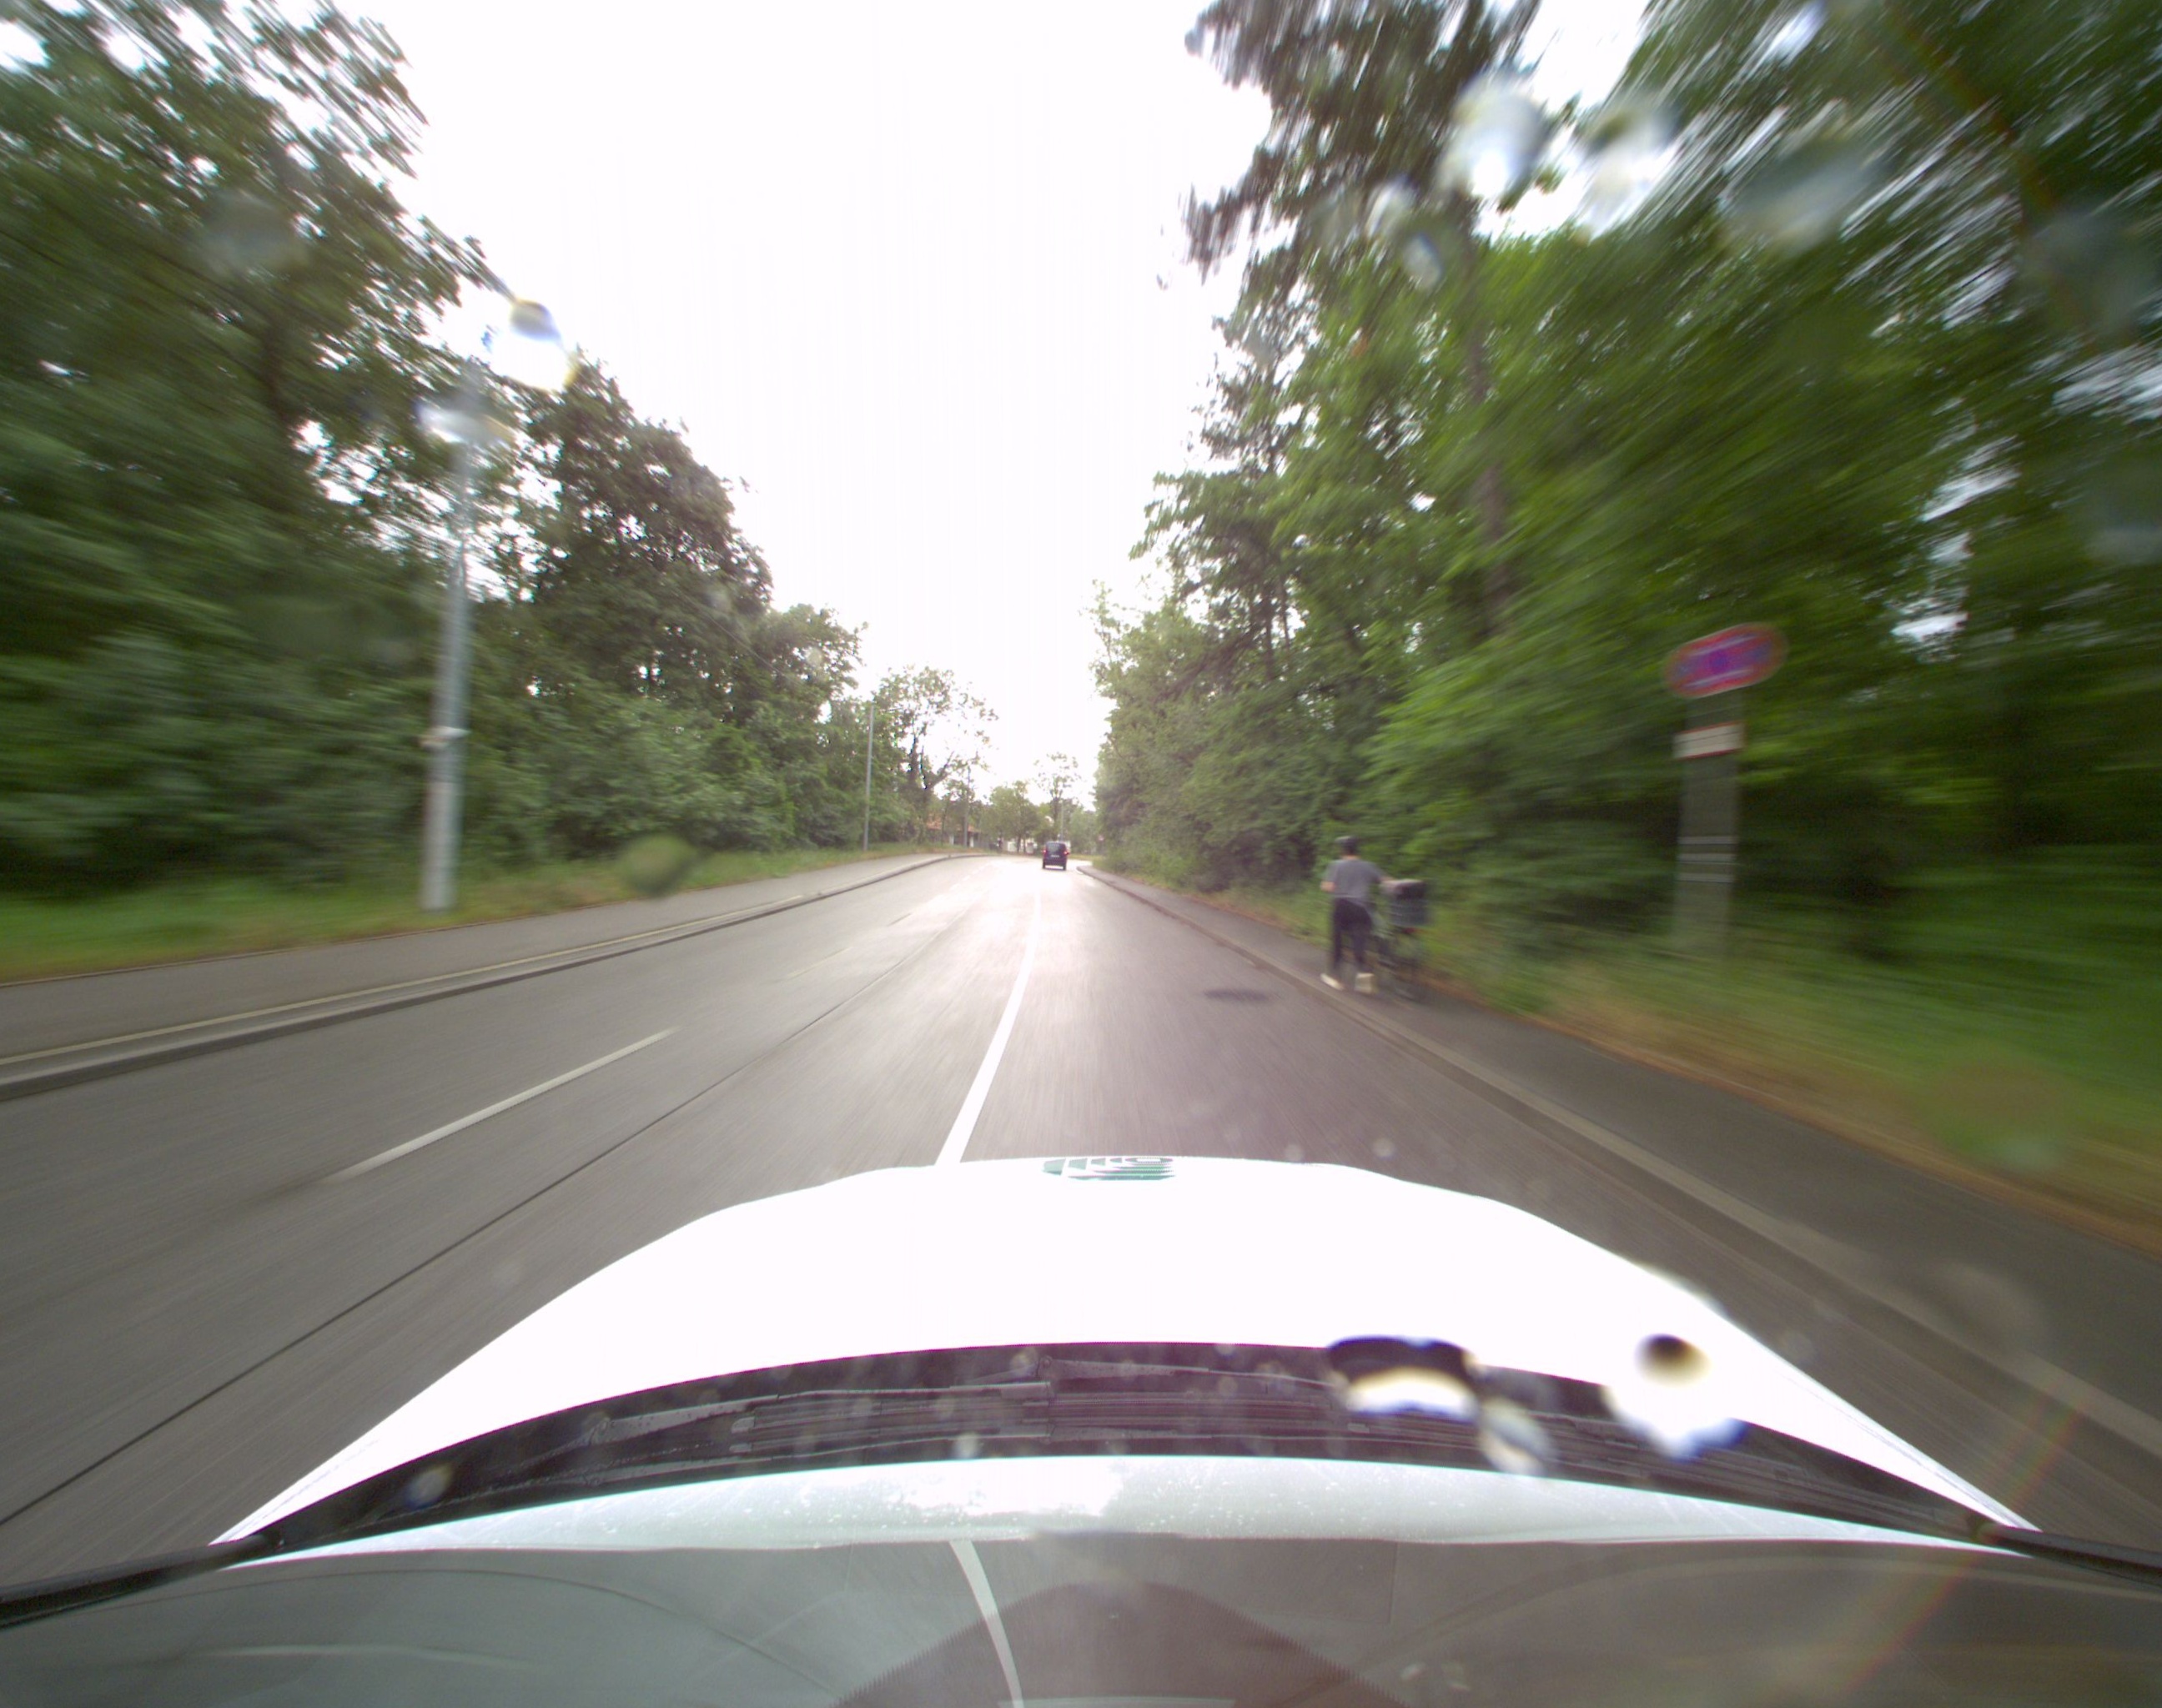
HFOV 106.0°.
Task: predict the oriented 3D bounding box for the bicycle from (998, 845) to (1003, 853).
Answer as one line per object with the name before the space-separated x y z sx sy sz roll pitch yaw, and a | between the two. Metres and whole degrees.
bicycle | -8.513 -0.551 86.203 0.354 0.849 2.093 2 1 0

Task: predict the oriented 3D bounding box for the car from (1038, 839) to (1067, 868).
car | -1.984 -0.009 55.568 1.824 1.794 3.992 0 -2 -5

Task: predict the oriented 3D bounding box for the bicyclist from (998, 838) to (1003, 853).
bicyclist | -8.501 -0.905 86.185 0.335 1.574 1.298 1 1 0

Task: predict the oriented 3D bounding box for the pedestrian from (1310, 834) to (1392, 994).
pedestrian | 2.771 0.603 8.424 0.562 1.577 0.769 0 -3 0

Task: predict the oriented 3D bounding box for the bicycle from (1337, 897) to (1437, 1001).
bicycle | 3.122 0.932 8.457 0.354 0.849 1.742 -2 1 0
